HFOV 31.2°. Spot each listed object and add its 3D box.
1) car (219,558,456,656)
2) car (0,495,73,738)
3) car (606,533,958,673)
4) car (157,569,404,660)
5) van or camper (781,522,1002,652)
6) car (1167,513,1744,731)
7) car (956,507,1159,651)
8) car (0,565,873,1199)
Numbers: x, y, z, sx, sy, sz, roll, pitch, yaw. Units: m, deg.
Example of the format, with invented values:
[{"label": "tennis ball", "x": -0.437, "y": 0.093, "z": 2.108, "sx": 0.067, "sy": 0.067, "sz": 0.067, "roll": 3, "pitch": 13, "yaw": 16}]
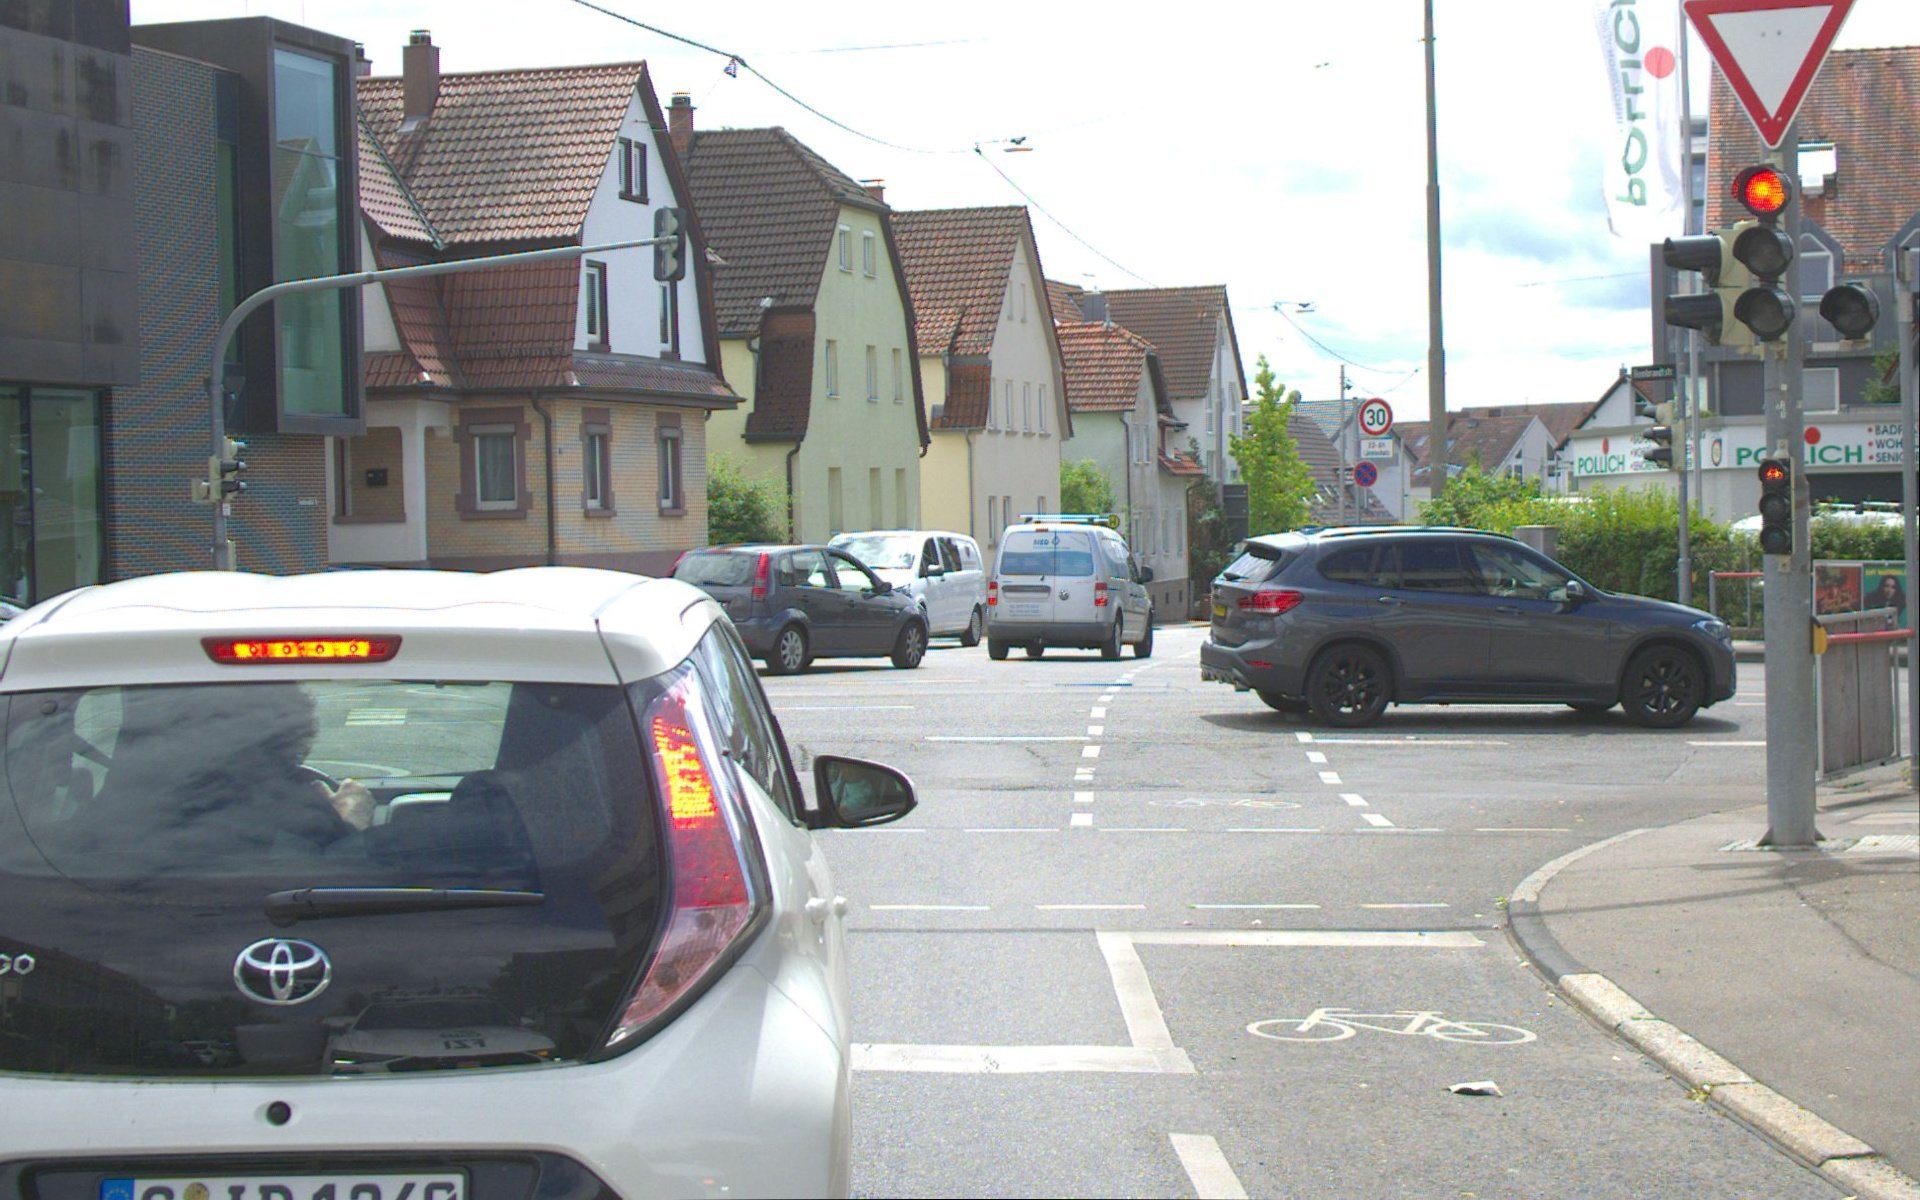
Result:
[{"label": "car", "x": -10.643, "y": 0.111, "z": 58.874, "sx": 3.616, "sy": 1.600, "sz": 1.691, "roll": 1, "pitch": 1, "yaw": 11}, {"label": "car", "x": -9.101, "y": 0.143, "z": 25.813, "sx": 4.498, "sy": 1.737, "sz": 2.001, "roll": -1, "pitch": 3, "yaw": -9}, {"label": "car", "x": -1.950, "y": 0.009, "z": 38.772, "sx": 1.997, "sy": 1.481, "sz": 3.992, "roll": 1, "pitch": 1, "yaw": 33}, {"label": "car", "x": -11.201, "y": 0.230, "z": 56.752, "sx": 3.616, "sy": 1.414, "sz": 1.691, "roll": 1, "pitch": 1, "yaw": 11}, {"label": "van or camper", "x": -1.000, "y": -0.234, "z": 54.122, "sx": 2.117, "sy": 1.919, "sz": 5.282, "roll": 1, "pitch": 1, "yaw": 15}, {"label": "car", "x": 4.053, "y": 0.145, "z": 28.444, "sx": 4.291, "sy": 1.670, "sz": 2.001, "roll": -1, "pitch": 1, "yaw": -11}, {"label": "car", "x": 1.371, "y": -0.299, "z": 46.630, "sx": 1.995, "sy": 1.842, "sz": 4.071, "roll": 1, "pitch": 1, "yaw": 13}, {"label": "car", "x": -1.042, "y": 0.678, "z": 6.316, "sx": 1.697, "sy": 1.451, "sz": 3.299, "roll": 1, "pitch": 1, "yaw": -2}]
